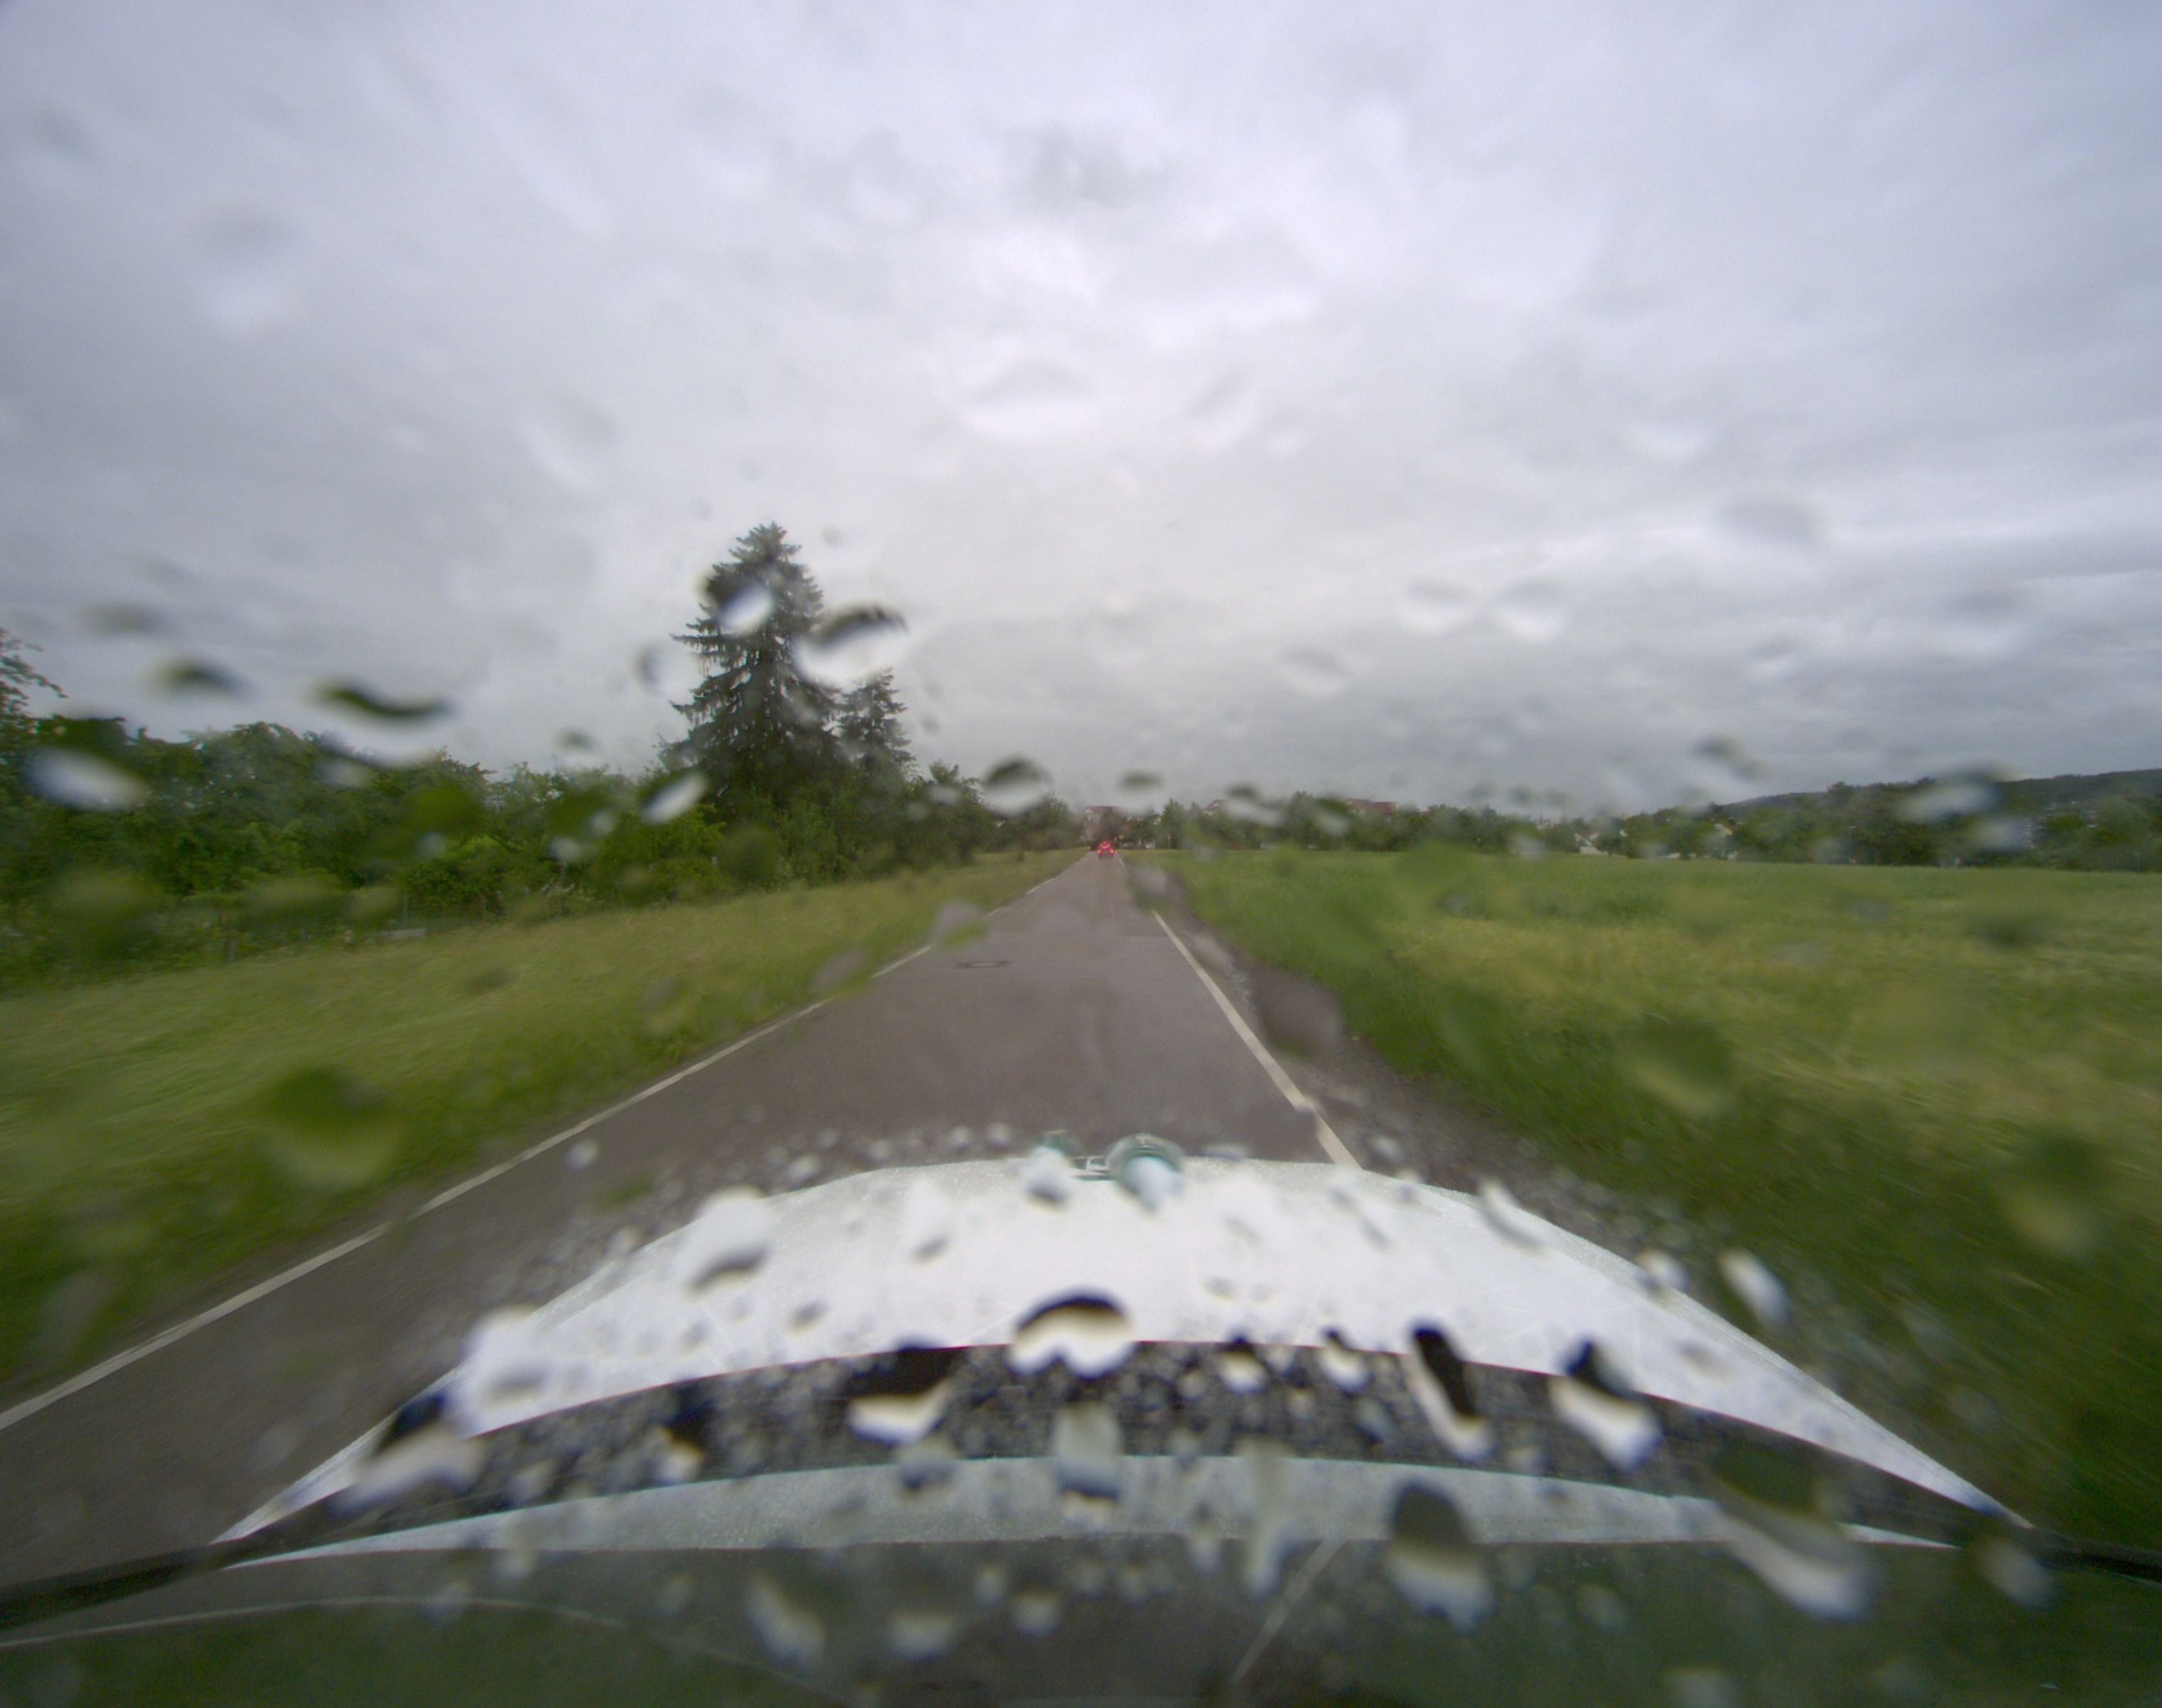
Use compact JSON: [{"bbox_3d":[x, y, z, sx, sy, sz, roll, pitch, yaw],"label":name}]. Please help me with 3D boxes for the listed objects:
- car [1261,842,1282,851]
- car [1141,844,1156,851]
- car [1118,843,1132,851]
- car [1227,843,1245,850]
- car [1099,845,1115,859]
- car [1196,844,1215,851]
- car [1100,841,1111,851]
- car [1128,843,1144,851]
[{"bbox_3d":[35.138,-1.345,150.001,3.682,1.564,1.617,-1,-1,15],"label":"car"},{"bbox_3d":[15.812,-1.589,191.632,1.645,1.546,4.025,-1,-1,37],"label":"car"},{"bbox_3d":[9.959,-1.569,182.683,1.645,1.546,4.023,-1,-1,26],"label":"car"},{"bbox_3d":[28.863,-1.402,151.849,3.169,1.371,1.578,-1,-1,15],"label":"car"},{"bbox_3d":[3.049,-0.205,95.800,1.807,1.594,4.003,0,-1,3],"label":"car"},{"bbox_3d":[23.434,-1.227,153.404,3.365,1.371,1.554,-1,-1,15],"label":"car"},{"bbox_3d":[4.429,-1.430,147.234,1.807,1.594,4.003,0,-1,3],"label":"car"},{"bbox_3d":[12.675,-1.593,187.410,1.645,1.546,4.025,-1,-1,37],"label":"car"}]
